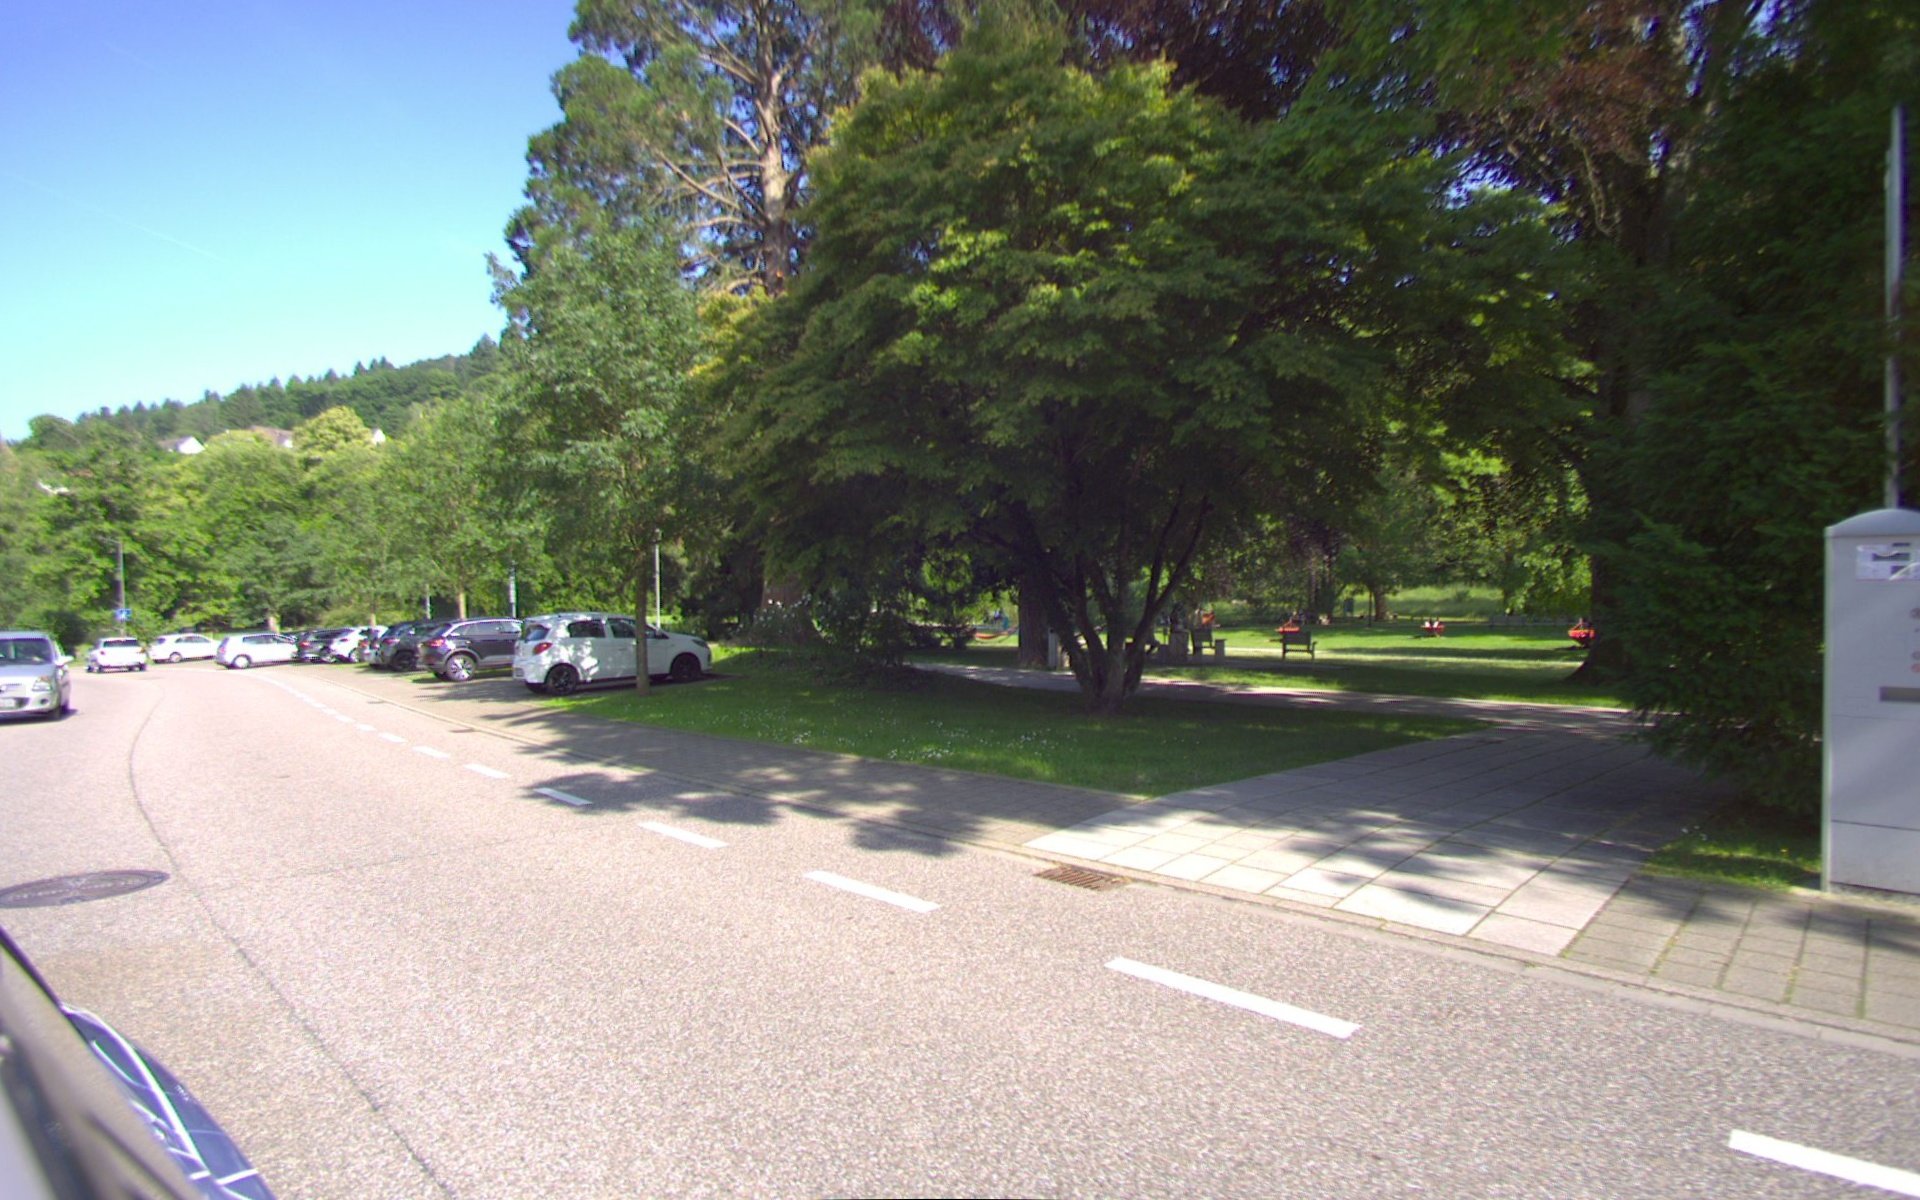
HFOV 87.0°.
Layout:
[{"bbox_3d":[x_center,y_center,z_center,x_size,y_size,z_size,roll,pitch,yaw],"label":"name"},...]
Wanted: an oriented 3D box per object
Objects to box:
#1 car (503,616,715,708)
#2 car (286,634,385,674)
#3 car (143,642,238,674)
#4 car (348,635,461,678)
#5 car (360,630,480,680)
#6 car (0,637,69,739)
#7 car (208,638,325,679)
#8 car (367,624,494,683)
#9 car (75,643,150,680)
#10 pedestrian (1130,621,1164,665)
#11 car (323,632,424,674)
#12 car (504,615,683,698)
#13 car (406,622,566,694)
[{"bbox_3d":[-6.922,1.169,20.102,3.630,1.498,1.569,-3,0,-38],"label":"car"},{"bbox_3d":[-26.879,2.289,43.616,3.437,1.436,1.556,-3,0,-38],"label":"car"},{"bbox_3d":[-43.020,3.218,56.650,1.509,1.488,3.963,-3,-1,28],"label":"car"},{"bbox_3d":[-20.600,2.056,37.560,3.437,1.311,1.556,-3,0,-38],"label":"car"},{"bbox_3d":[-18.882,1.890,35.412,3.437,1.436,1.556,-3,0,-38],"label":"car"},{"bbox_3d":[-17.361,1.547,18.326,1.580,1.650,4.008,-3,0,-38],"label":"car"},{"bbox_3d":[-30.532,2.560,44.651,1.515,1.408,3.946,-4,0,41],"label":"car"},{"bbox_3d":[-17.285,1.702,33.106,3.437,1.632,1.383,-3,0,-38],"label":"car"},{"bbox_3d":[-38.313,2.770,45.720,3.993,1.516,1.754,-3,-2,37],"label":"car"},{"bbox_3d":[5.299,1.204,28.737,0.645,1.232,0.711,0,-1,-21],"label":"pedestrian"},{"bbox_3d":[-24.394,2.170,42.137,3.437,1.436,1.556,-3,0,-38],"label":"car"},{"bbox_3d":[-8.106,1.201,22.511,3.437,1.564,1.383,-3,0,-38],"label":"car"},{"bbox_3d":[-12.132,1.438,25.985,3.437,1.557,1.446,-3,0,-38],"label":"car"}]
